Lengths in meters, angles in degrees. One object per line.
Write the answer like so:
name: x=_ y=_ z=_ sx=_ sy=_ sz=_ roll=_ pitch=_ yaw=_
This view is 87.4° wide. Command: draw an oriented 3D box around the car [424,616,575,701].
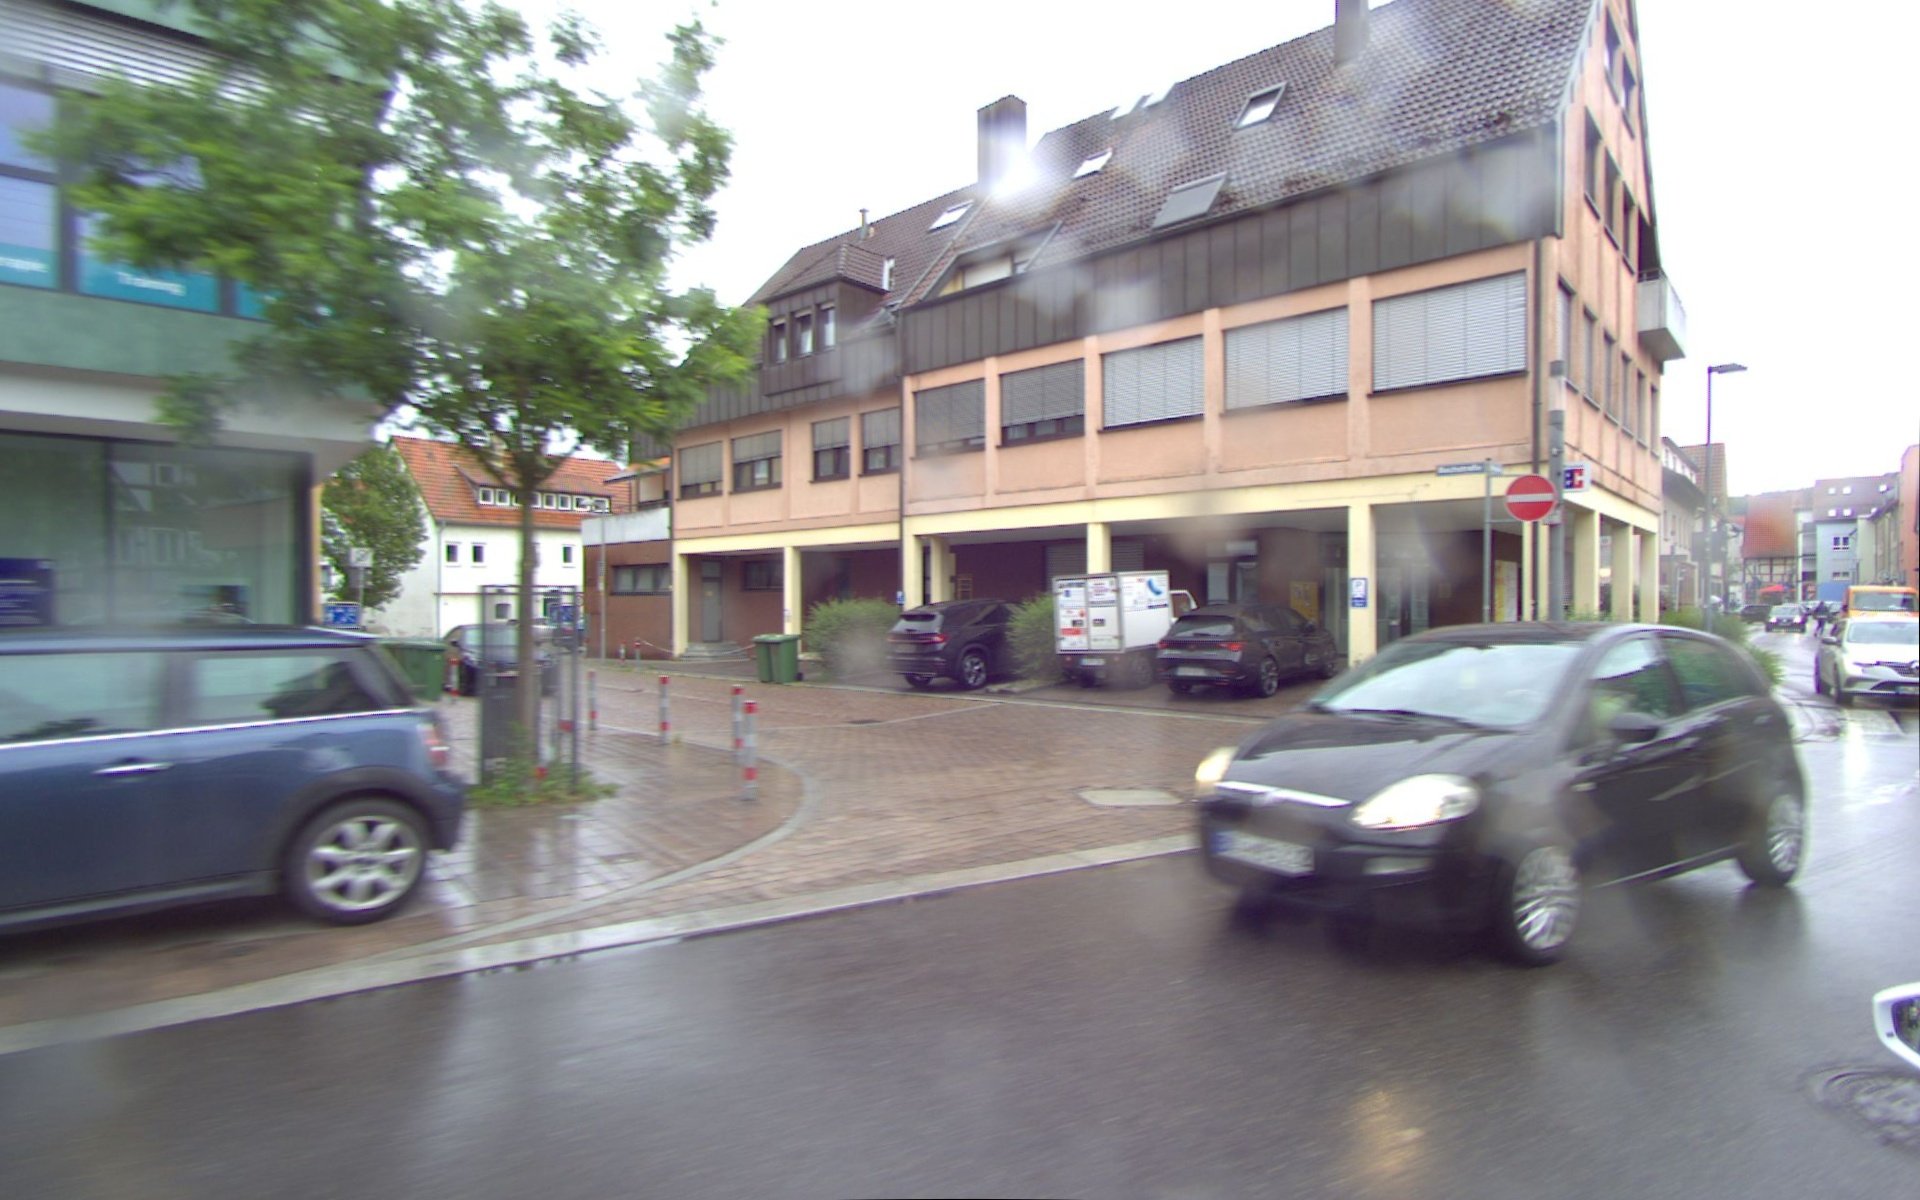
car: x=-9.950 y=1.168 z=21.562 sx=1.805 sy=1.639 sz=3.949 roll=1 pitch=-1 yaw=-43

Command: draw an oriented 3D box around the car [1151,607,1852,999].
car: x=3.090 y=0.804 z=5.521 sx=3.939 sy=1.465 sz=1.640 roll=1 pitch=-2 yaw=-32

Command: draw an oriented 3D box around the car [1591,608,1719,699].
car: x=12.936 y=0.901 z=18.614 sx=1.693 sy=1.477 sz=3.893 roll=1 pitch=0 yaw=38

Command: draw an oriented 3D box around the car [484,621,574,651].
car: x=-21.228 y=1.760 z=49.554 sx=3.754 sy=1.394 sz=1.783 roll=0 pitch=-1 yaw=-39

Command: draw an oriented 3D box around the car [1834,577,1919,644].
car: x=32.633 y=0.426 z=35.826 sx=2.080 sy=2.174 sz=4.842 roll=-3 pitch=-3 yaw=41

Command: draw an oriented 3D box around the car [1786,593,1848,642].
car: x=40.741 y=0.881 z=47.804 sx=2.079 sy=2.174 sz=4.844 roll=-3 pitch=-3 yaw=40

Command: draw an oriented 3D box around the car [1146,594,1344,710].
car: x=4.873 y=0.770 z=16.869 sx=1.562 sy=1.499 sz=3.798 roll=0 pitch=3 yaw=44

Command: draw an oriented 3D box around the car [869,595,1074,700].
car: x=0.303 y=0.872 z=20.447 sx=3.970 sy=1.640 sz=1.795 roll=-6 pitch=4 yaw=-42

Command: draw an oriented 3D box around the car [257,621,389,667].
car: x=-24.453 y=1.653 z=38.623 sx=1.793 sy=1.639 sz=3.976 roll=0 pitch=-1 yaw=44

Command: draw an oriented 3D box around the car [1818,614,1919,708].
car: x=16.236 y=0.985 z=17.470 sx=1.970 sy=1.460 sz=4.143 roll=-1 pitch=-1 yaw=40

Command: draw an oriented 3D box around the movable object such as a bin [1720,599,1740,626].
movable object such as a bin: x=40.731 y=0.670 z=53.115 sx=0.823 sy=1.400 sz=0.851 roll=0 pitch=-1 yaw=37

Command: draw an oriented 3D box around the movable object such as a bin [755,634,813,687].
movable object such as a bin: x=-4.076 y=1.393 z=23.294 sx=0.916 sy=1.111 sz=0.992 roll=-4 pitch=0 yaw=-37

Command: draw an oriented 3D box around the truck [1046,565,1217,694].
truck: x=3.271 y=0.504 z=18.833 sx=1.580 sy=2.090 sz=3.173 roll=-3 pitch=2 yaw=43

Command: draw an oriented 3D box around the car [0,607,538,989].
car: x=-4.219 y=0.786 z=4.673 sx=3.874 sy=1.477 sz=1.702 roll=1 pitch=0 yaw=-37

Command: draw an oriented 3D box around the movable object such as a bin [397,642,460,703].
movable object such as a bin: x=-10.329 y=1.397 z=19.524 sx=0.916 sy=1.111 sz=0.992 roll=-1 pitch=-2 yaw=-37

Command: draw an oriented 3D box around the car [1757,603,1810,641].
car: x=46.850 y=1.289 z=57.103 sx=1.973 sy=2.040 sz=4.337 roll=-3 pitch=-3 yaw=43

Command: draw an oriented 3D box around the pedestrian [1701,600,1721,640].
pedestrian: x=39.001 y=1.048 z=52.189 sx=0.823 sy=2.040 sz=0.851 roll=0 pitch=-1 yaw=37
